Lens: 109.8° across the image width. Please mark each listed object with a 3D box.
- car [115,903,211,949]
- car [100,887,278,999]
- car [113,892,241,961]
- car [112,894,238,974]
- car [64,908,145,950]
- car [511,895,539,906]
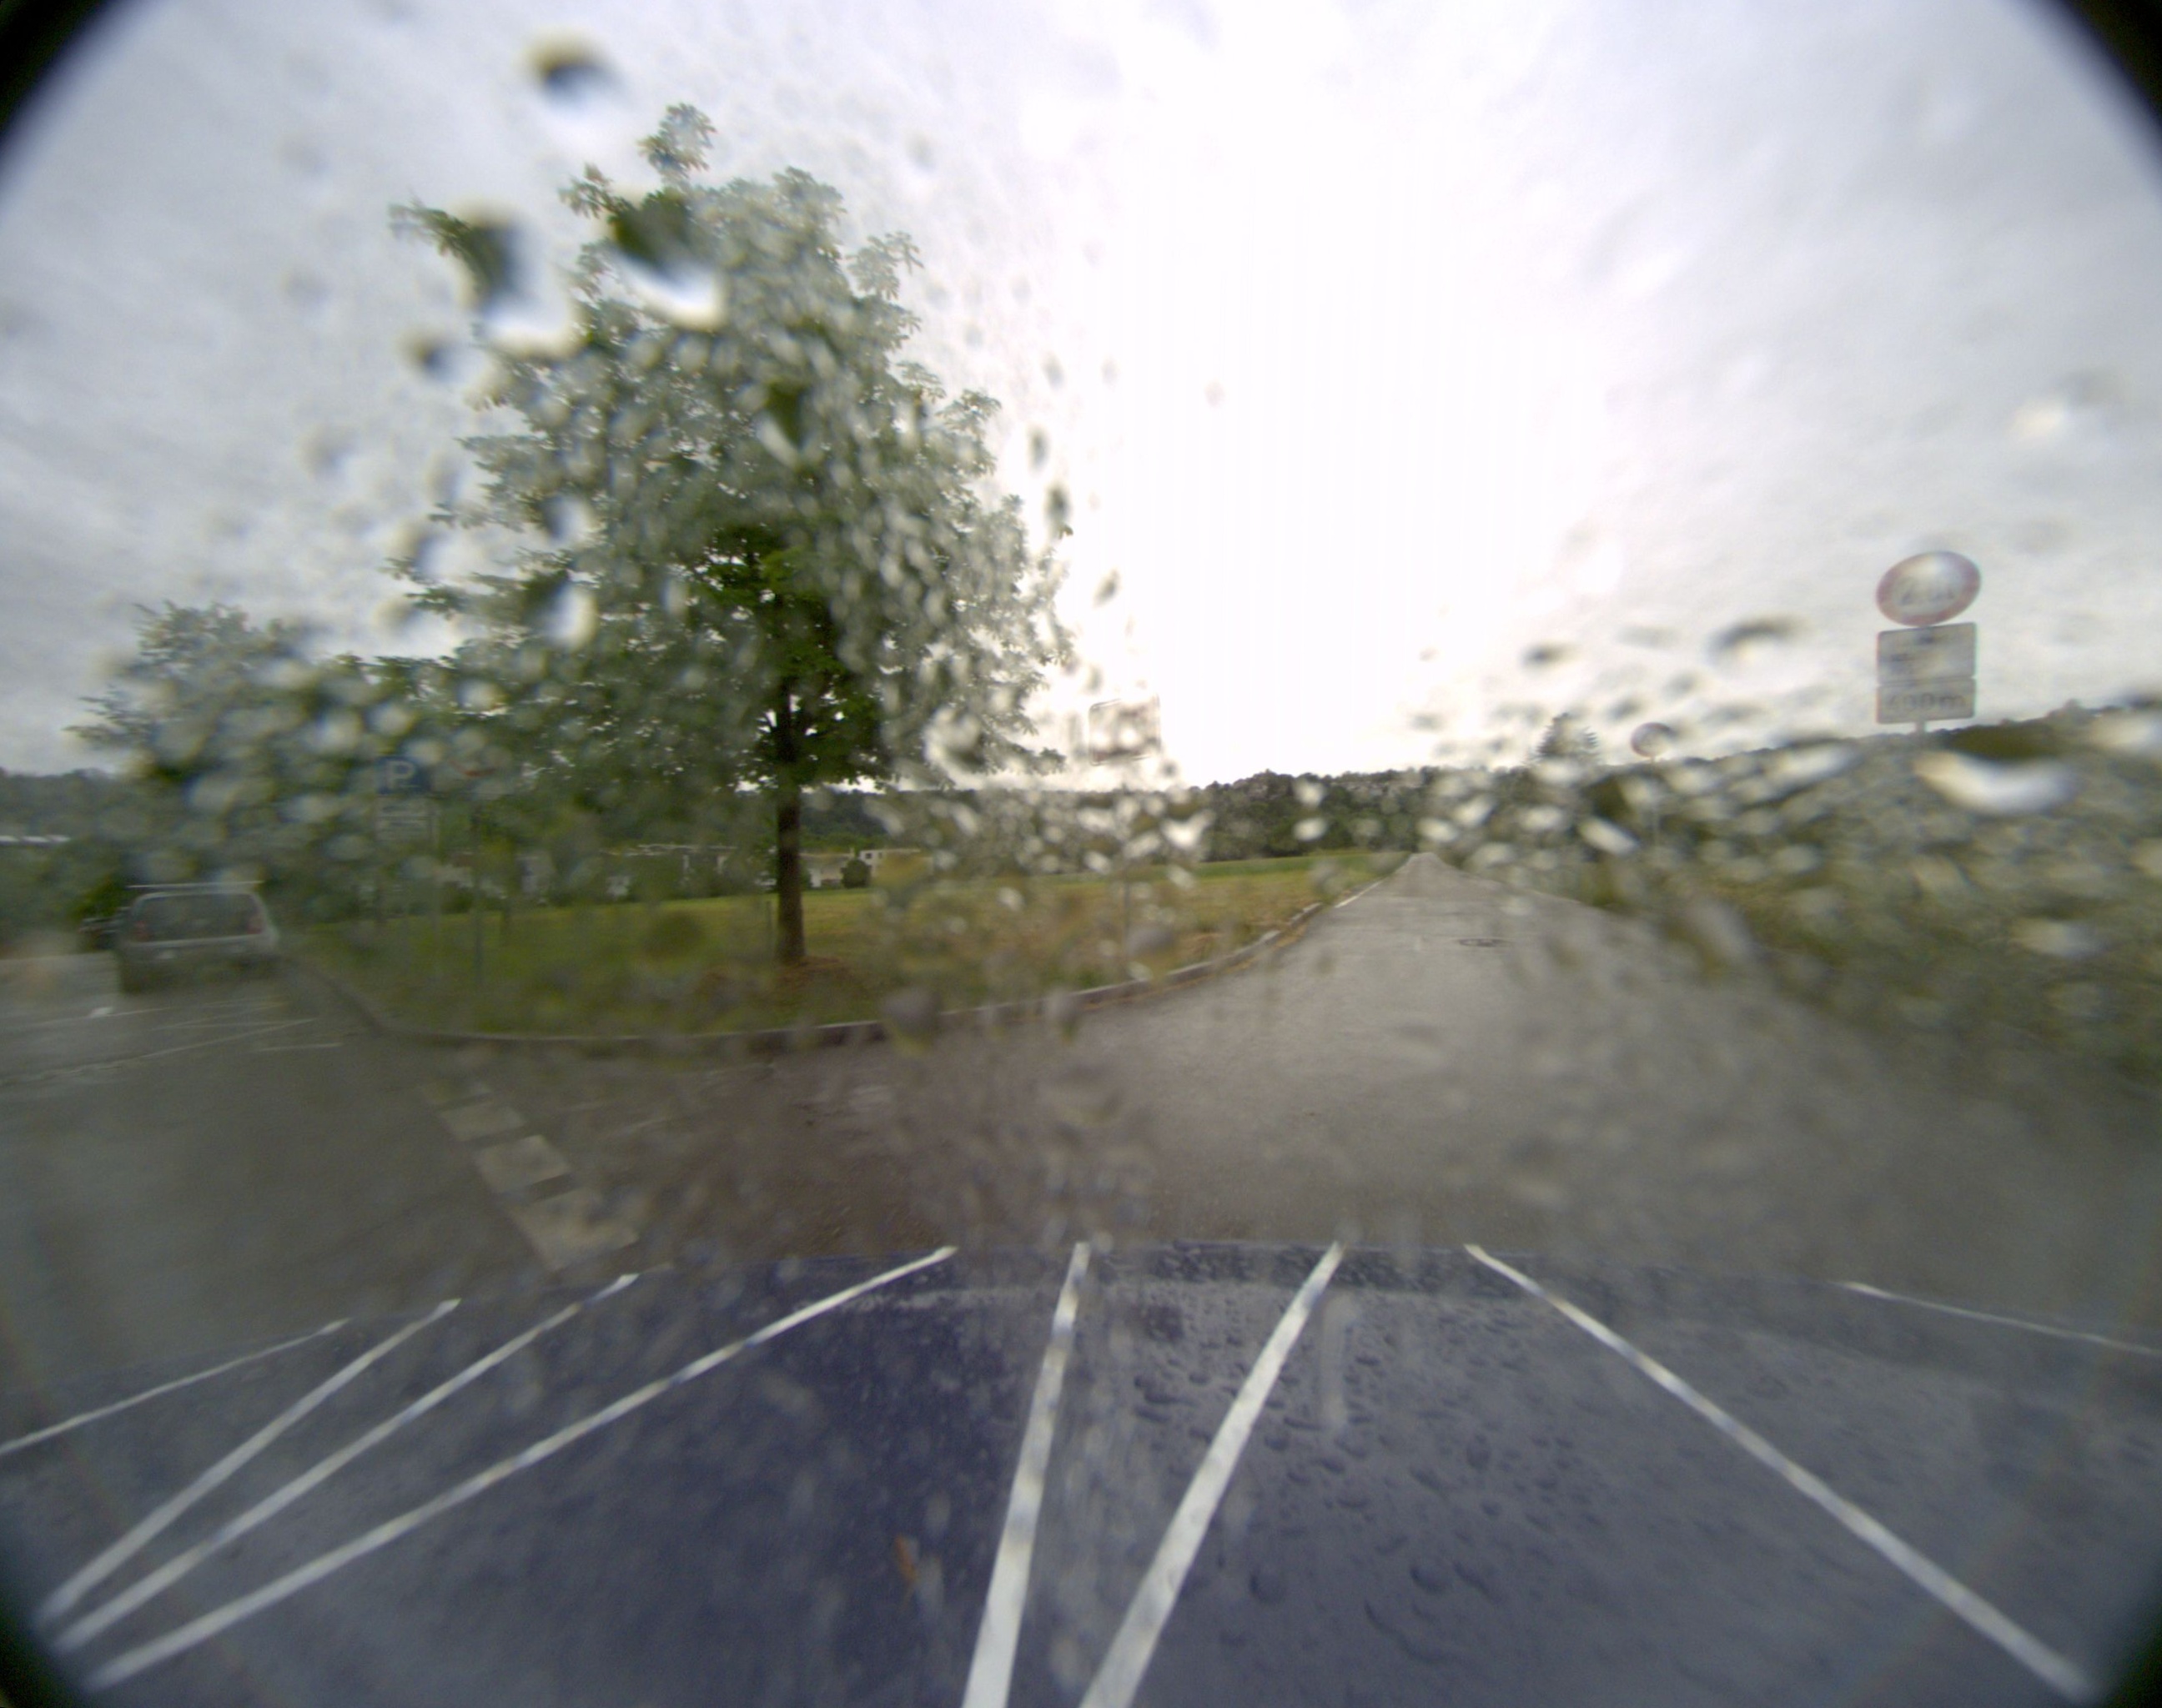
[{"bbox_3d":[-30.668,2.358,25.367,3.319,1.273,1.737,-2,0,35],"label":"car"},{"bbox_3d":[-14.826,1.354,12.739,3.544,1.471,1.683,-2,1,42],"label":"car"},{"bbox_3d":[-24.064,1.884,20.201,3.979,1.543,1.855,-3,0,36],"label":"car"},{"bbox_3d":[-19.356,1.633,16.312,3.004,1.428,1.557,-3,1,41],"label":"car"},{"bbox_3d":[-45.015,3.470,35.025,3.990,1.597,1.966,-6,-2,34],"label":"car"},{"bbox_3d":[-110.989,9.276,151.661,1.995,2.002,4.007,-2,0,28],"label":"car"}]
